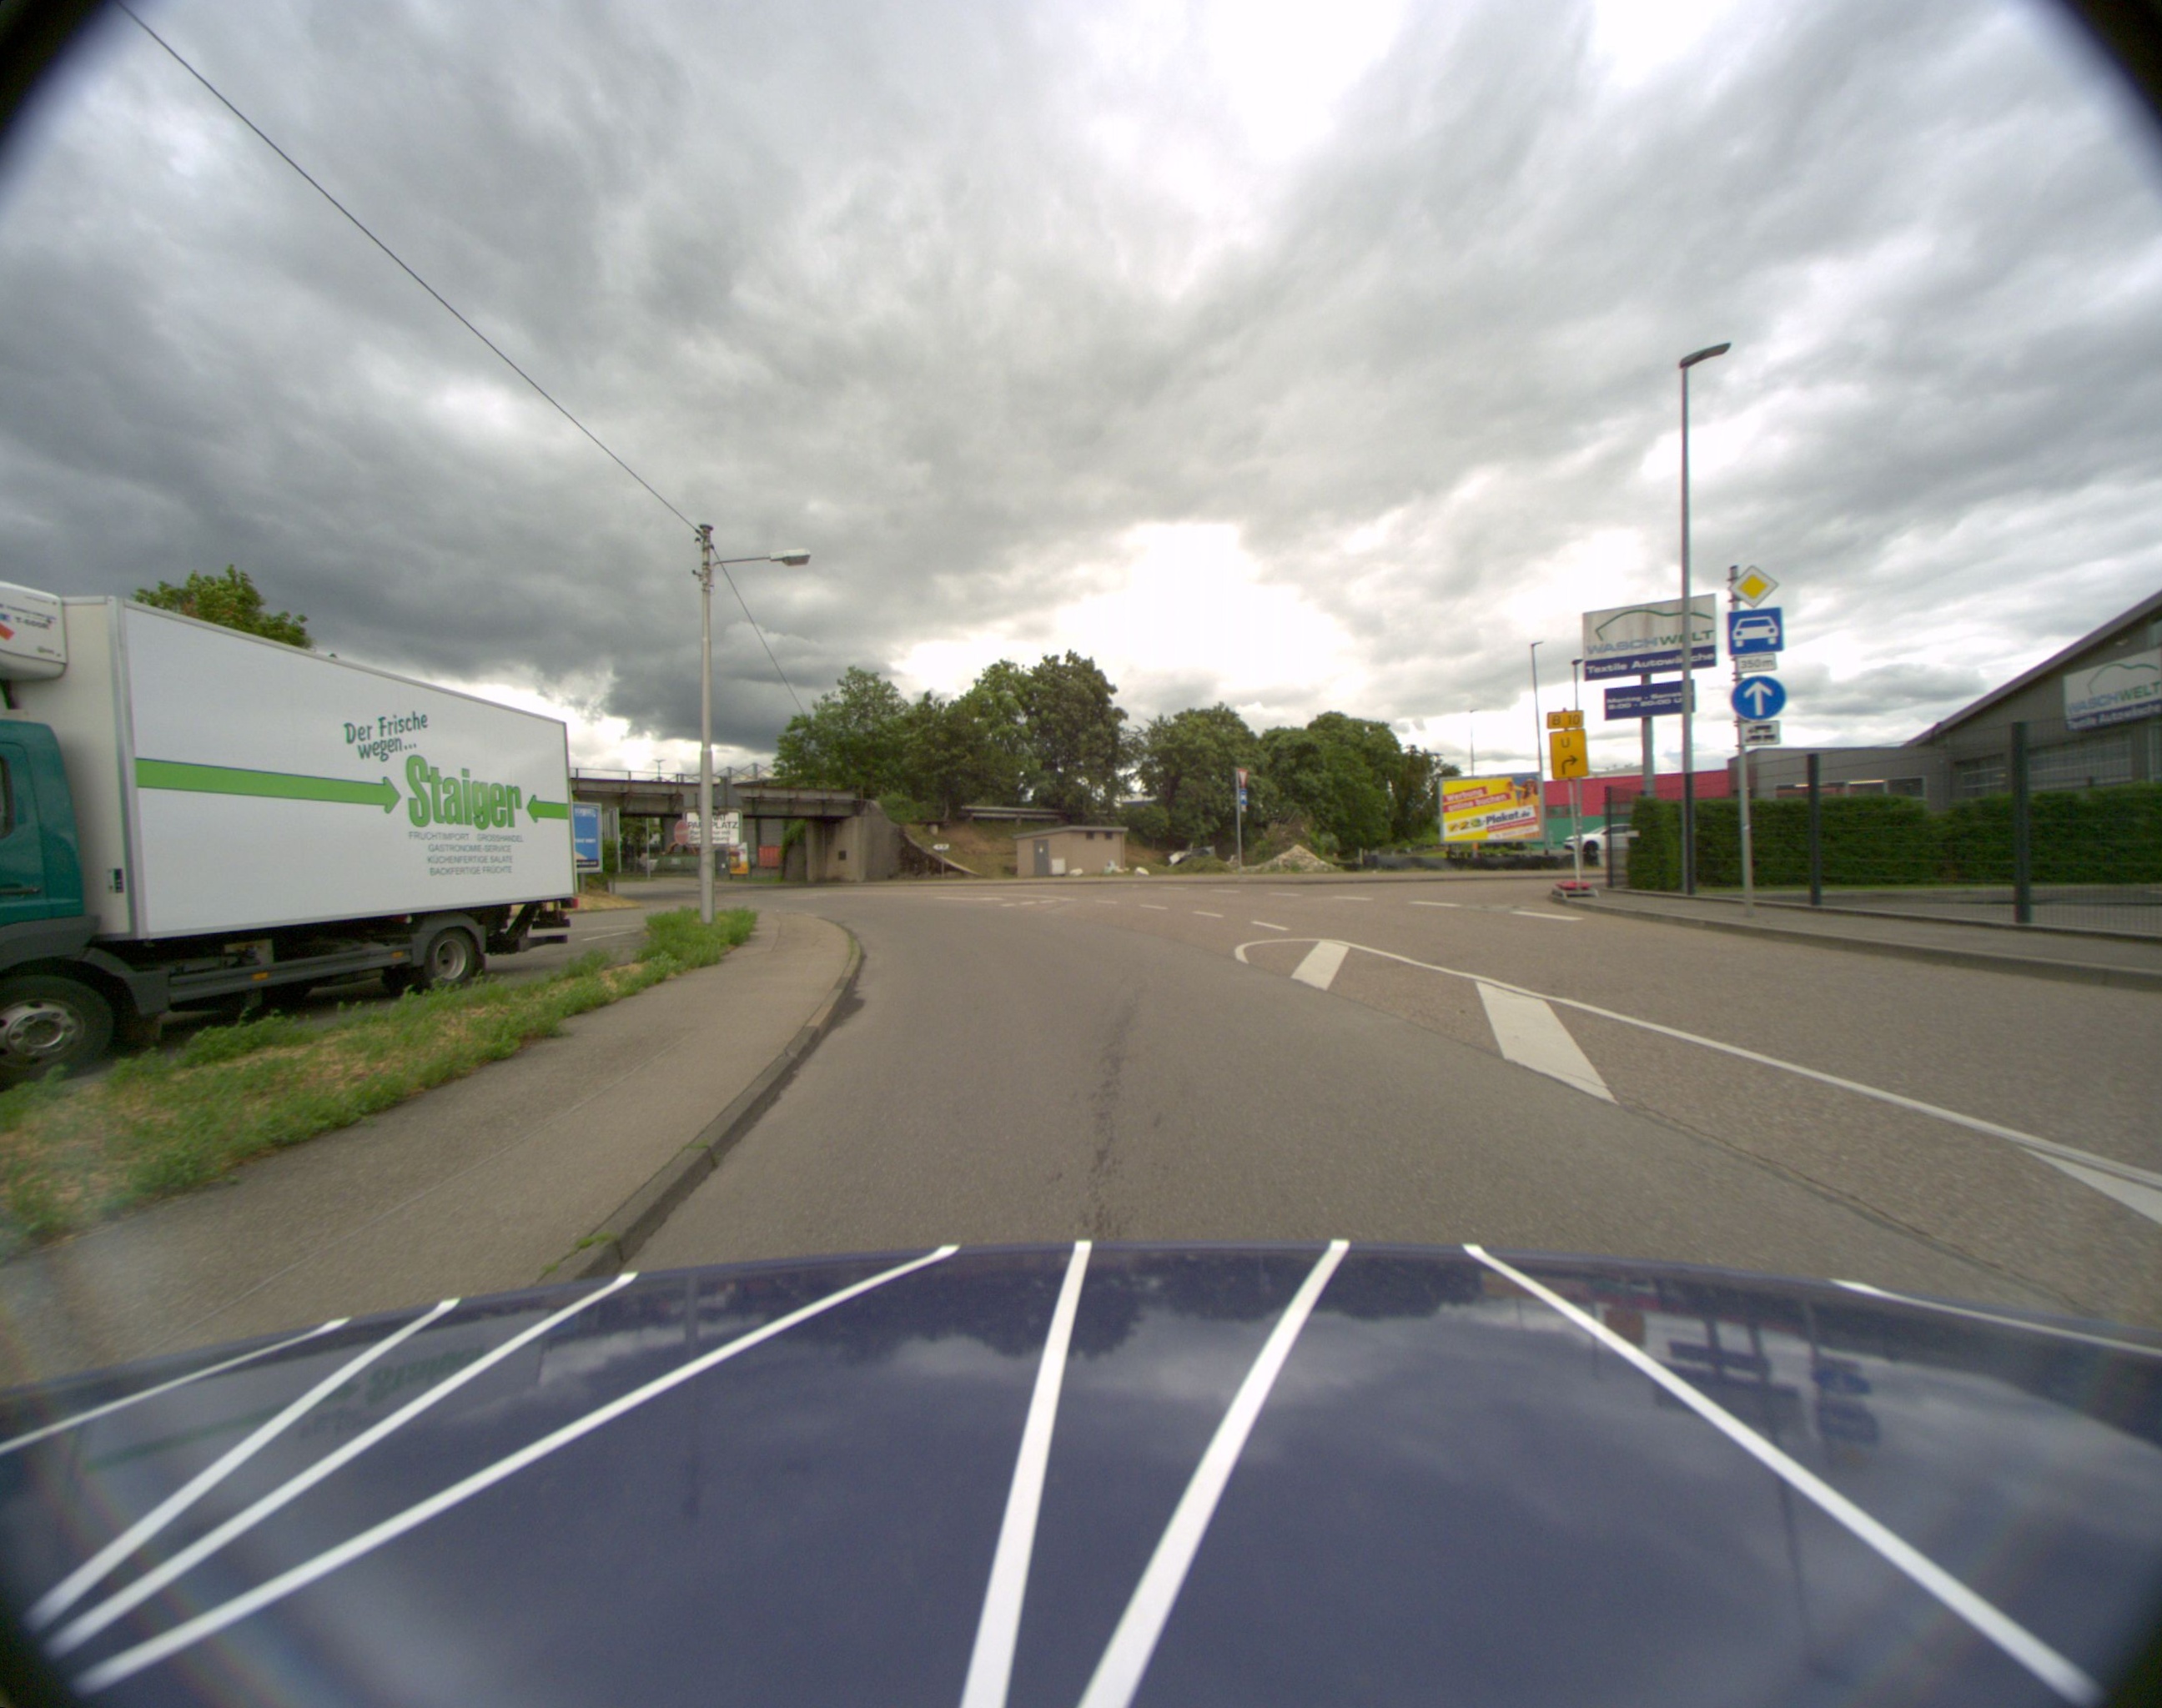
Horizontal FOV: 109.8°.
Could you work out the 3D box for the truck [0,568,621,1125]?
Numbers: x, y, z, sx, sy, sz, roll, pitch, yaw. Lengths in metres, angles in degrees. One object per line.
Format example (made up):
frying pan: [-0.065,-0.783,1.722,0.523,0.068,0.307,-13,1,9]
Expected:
truck: [-8.750,-0.047,7.836,3.071,3.611,8.600,-3,1,-4]

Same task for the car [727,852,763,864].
car: [-39.553,0.508,89.428,3.989,1.366,1.741,-1,1,31]

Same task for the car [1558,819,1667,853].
car: [26.408,-0.870,37.881,3.993,1.527,2.002,-2,1,14]

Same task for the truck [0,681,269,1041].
truck: [-12.269,0.207,5.679,3.071,3.611,8.601,-5,1,-3]

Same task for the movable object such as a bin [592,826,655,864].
movable object such as a bin: [-52.278,-1.019,86.867,6.537,4.067,2.738,-2,0,23]
